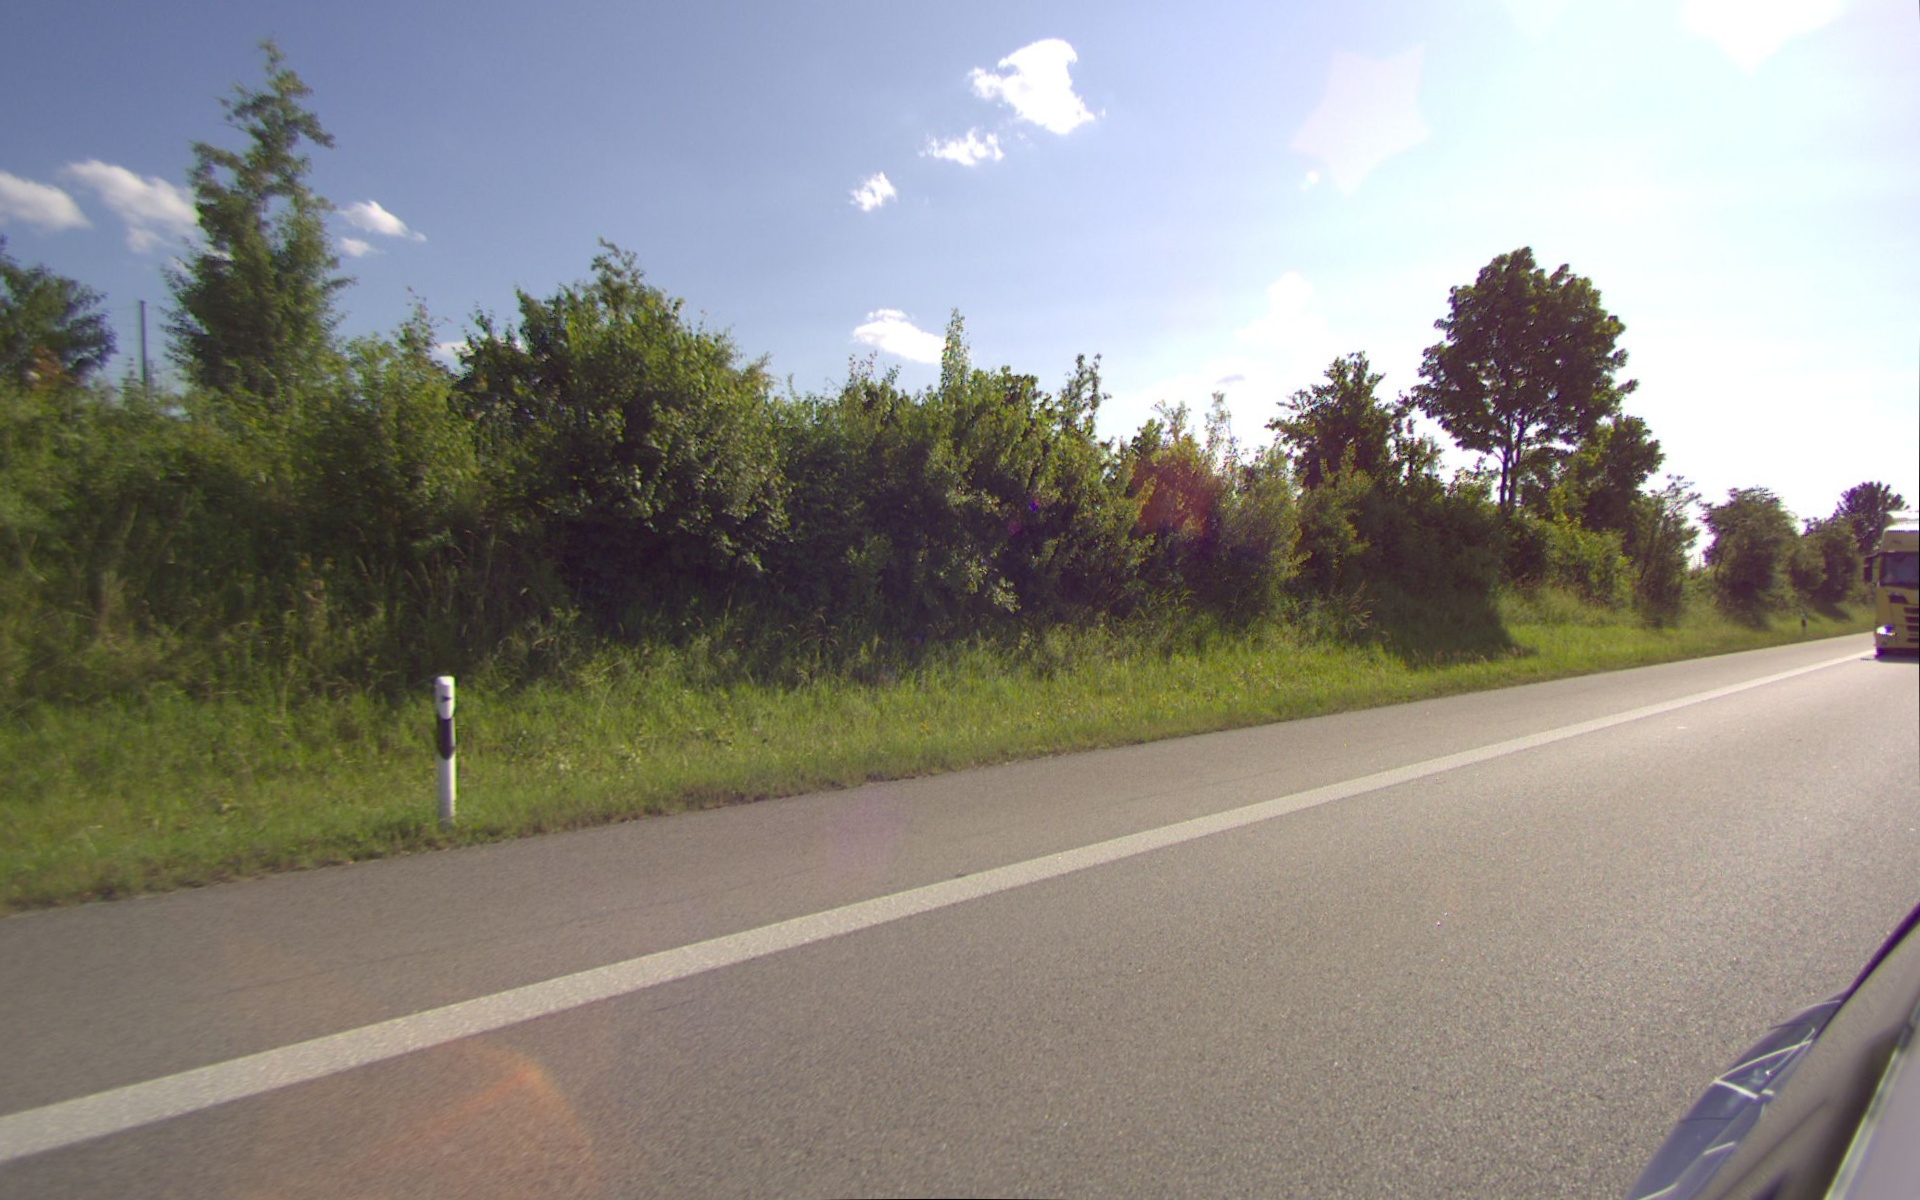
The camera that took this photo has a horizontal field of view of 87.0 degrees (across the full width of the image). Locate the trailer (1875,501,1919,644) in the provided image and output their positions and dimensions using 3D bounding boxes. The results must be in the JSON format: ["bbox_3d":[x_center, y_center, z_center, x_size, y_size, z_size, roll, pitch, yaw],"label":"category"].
[{"bbox_3d":[32.910,-0.839,33.157,12.963,4.110,3.188,-1,0,-43],"label":"trailer"}]

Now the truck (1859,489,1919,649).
[{"bbox_3d":[27.648,-0.836,28.359,6.282,4.166,3.171,0,0,-44],"label":"truck"}]
